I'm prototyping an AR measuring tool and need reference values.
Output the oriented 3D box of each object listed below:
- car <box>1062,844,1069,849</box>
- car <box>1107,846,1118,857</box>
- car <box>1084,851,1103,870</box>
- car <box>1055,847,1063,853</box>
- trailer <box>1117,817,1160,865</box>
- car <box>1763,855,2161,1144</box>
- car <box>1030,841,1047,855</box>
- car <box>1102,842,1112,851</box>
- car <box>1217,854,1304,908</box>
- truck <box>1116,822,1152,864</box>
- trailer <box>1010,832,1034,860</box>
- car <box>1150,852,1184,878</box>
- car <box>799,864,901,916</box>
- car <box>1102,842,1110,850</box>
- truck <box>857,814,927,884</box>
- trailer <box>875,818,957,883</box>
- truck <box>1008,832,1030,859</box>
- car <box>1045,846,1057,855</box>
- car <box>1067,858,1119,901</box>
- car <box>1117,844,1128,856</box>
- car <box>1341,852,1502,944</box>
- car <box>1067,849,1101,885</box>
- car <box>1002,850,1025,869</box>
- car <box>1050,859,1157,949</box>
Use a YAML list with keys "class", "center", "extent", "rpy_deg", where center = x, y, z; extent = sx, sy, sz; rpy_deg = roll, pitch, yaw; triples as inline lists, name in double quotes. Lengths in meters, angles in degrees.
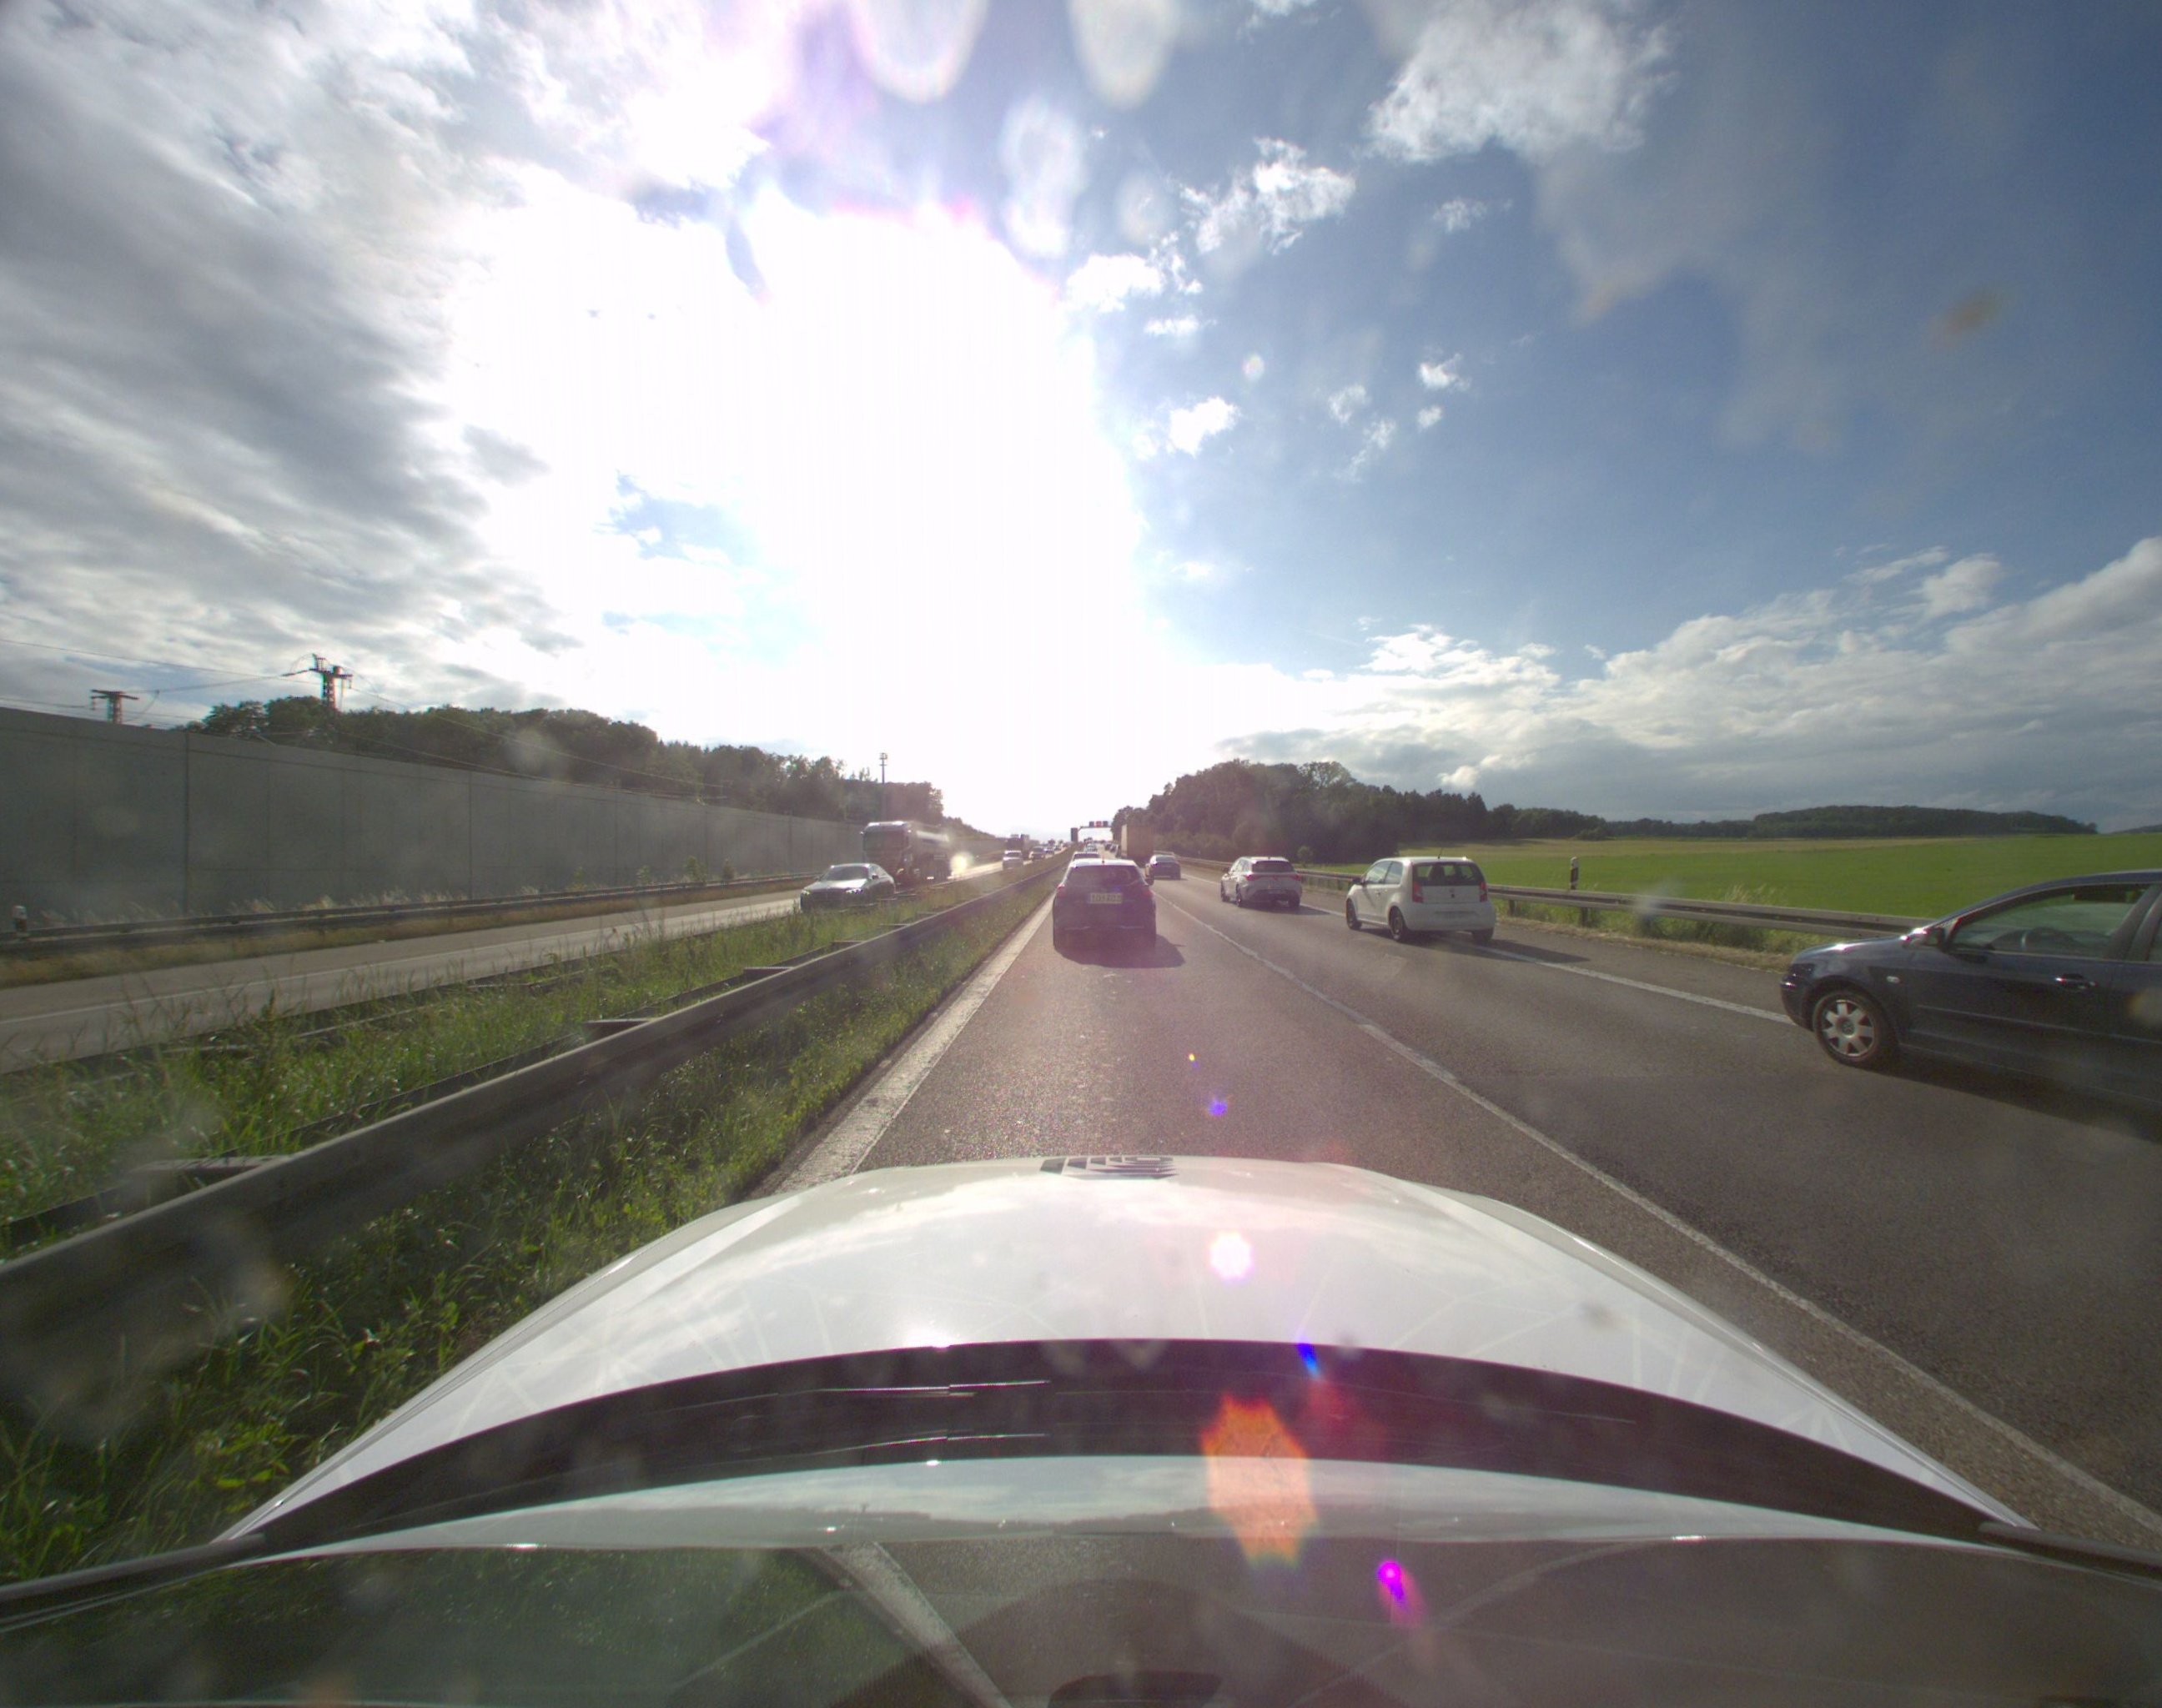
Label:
- class: "car"
  center: [-4.445, -2.177, 238.369]
  extent: [1.987, 1.433, 4.448]
  rpy_deg: [0, -1, 0]
- class: "car"
  center: [6.188, -0.445, 158.666]
  extent: [1.987, 2.014, 3.999]
  rpy_deg: [0, -1, 0]
- class: "car"
  center: [1.363, 0.691, 88.073]
  extent: [1.987, 2.014, 3.999]
  rpy_deg: [0, -1, 0]
- class: "car"
  center: [-5.239, -0.993, 194.788]
  extent: [1.896, 1.464, 4.183]
  rpy_deg: [0, -1, 0]
- class: "trailer"
  center: [5.715, -1.174, 83.253]
  extent: [3.537, 4.457, 12.720]
  rpy_deg: [0, -1, 0]
- class: "car"
  center: [6.231, 0.724, 4.505]
  extent: [1.705, 1.445, 3.771]
  rpy_deg: [0, -1, -2]
- class: "car"
  center: [-6.026, -0.847, 116.348]
  extent: [1.986, 1.883, 4.787]
  rpy_deg: [-3, -1, 1]
- class: "car"
  center: [5.649, -1.641, 178.155]
  extent: [1.987, 2.014, 3.999]
  rpy_deg: [0, -1, 0]
- class: "car"
  center: [5.232, 0.759, 24.189]
  extent: [1.616, 1.445, 4.145]
  rpy_deg: [0, -1, -1]
- class: "truck"
  center: [5.785, -1.114, 89.832]
  extent: [3.570, 4.380, 6.687]
  rpy_deg: [0, -1, 0]
- class: "trailer"
  center: [-9.446, -1.191, 132.138]
  extent: [2.750, 4.115, 12.905]
  rpy_deg: [-1, -1, 1]
- class: "car"
  center: [5.053, 0.647, 48.349]
  extent: [1.740, 1.475, 4.148]
  rpy_deg: [-1, -1, 2]
- class: "car"
  center: [-7.280, 1.079, 26.166]
  extent: [1.796, 1.516, 4.692]
  rpy_deg: [0, -1, 2]
- class: "car"
  center: [6.439, -2.162, 213.151]
  extent: [1.987, 2.014, 3.999]
  rpy_deg: [0, -1, 0]
- class: "truck"
  center: [-10.999, -0.249, 47.790]
  extent: [2.543, 3.798, 5.419]
  rpy_deg: [-3, -1, 1]
- class: "trailer"
  center: [-10.785, -0.166, 54.808]
  extent: [2.531, 3.771, 12.544]
  rpy_deg: [-3, -1, 2]
- class: "truck"
  center: [-9.531, -1.264, 125.551]
  extent: [2.744, 4.090, 6.954]
  rpy_deg: [-1, -1, 1]
- class: "car"
  center: [-5.717, -0.601, 155.167]
  extent: [1.881, 1.632, 5.111]
  rpy_deg: [0, -1, 1]
- class: "car"
  center: [0.445, 0.841, 27.829]
  extent: [1.667, 1.367, 3.597]
  rpy_deg: [-1, -1, 2]
- class: "car"
  center: [6.281, -0.524, 122.915]
  extent: [1.660, 1.755, 3.329]
  rpy_deg: [0, -1, 2]
- class: "car"
  center: [6.129, 0.722, 15.068]
  extent: [1.544, 1.495, 3.377]
  rpy_deg: [0, 0, -1]
- class: "car"
  center: [0.190, 0.647, 41.726]
  extent: [1.667, 1.726, 3.597]
  rpy_deg: [-1, -1, 2]
- class: "car"
  center: [-6.611, 0.518, 80.077]
  extent: [1.853, 1.834, 4.281]
  rpy_deg: [0, -1, 1]
- class: "car"
  center: [0.431, 0.818, 14.680]
  extent: [1.703, 1.426, 3.380]
  rpy_deg: [-1, -1, 2]
